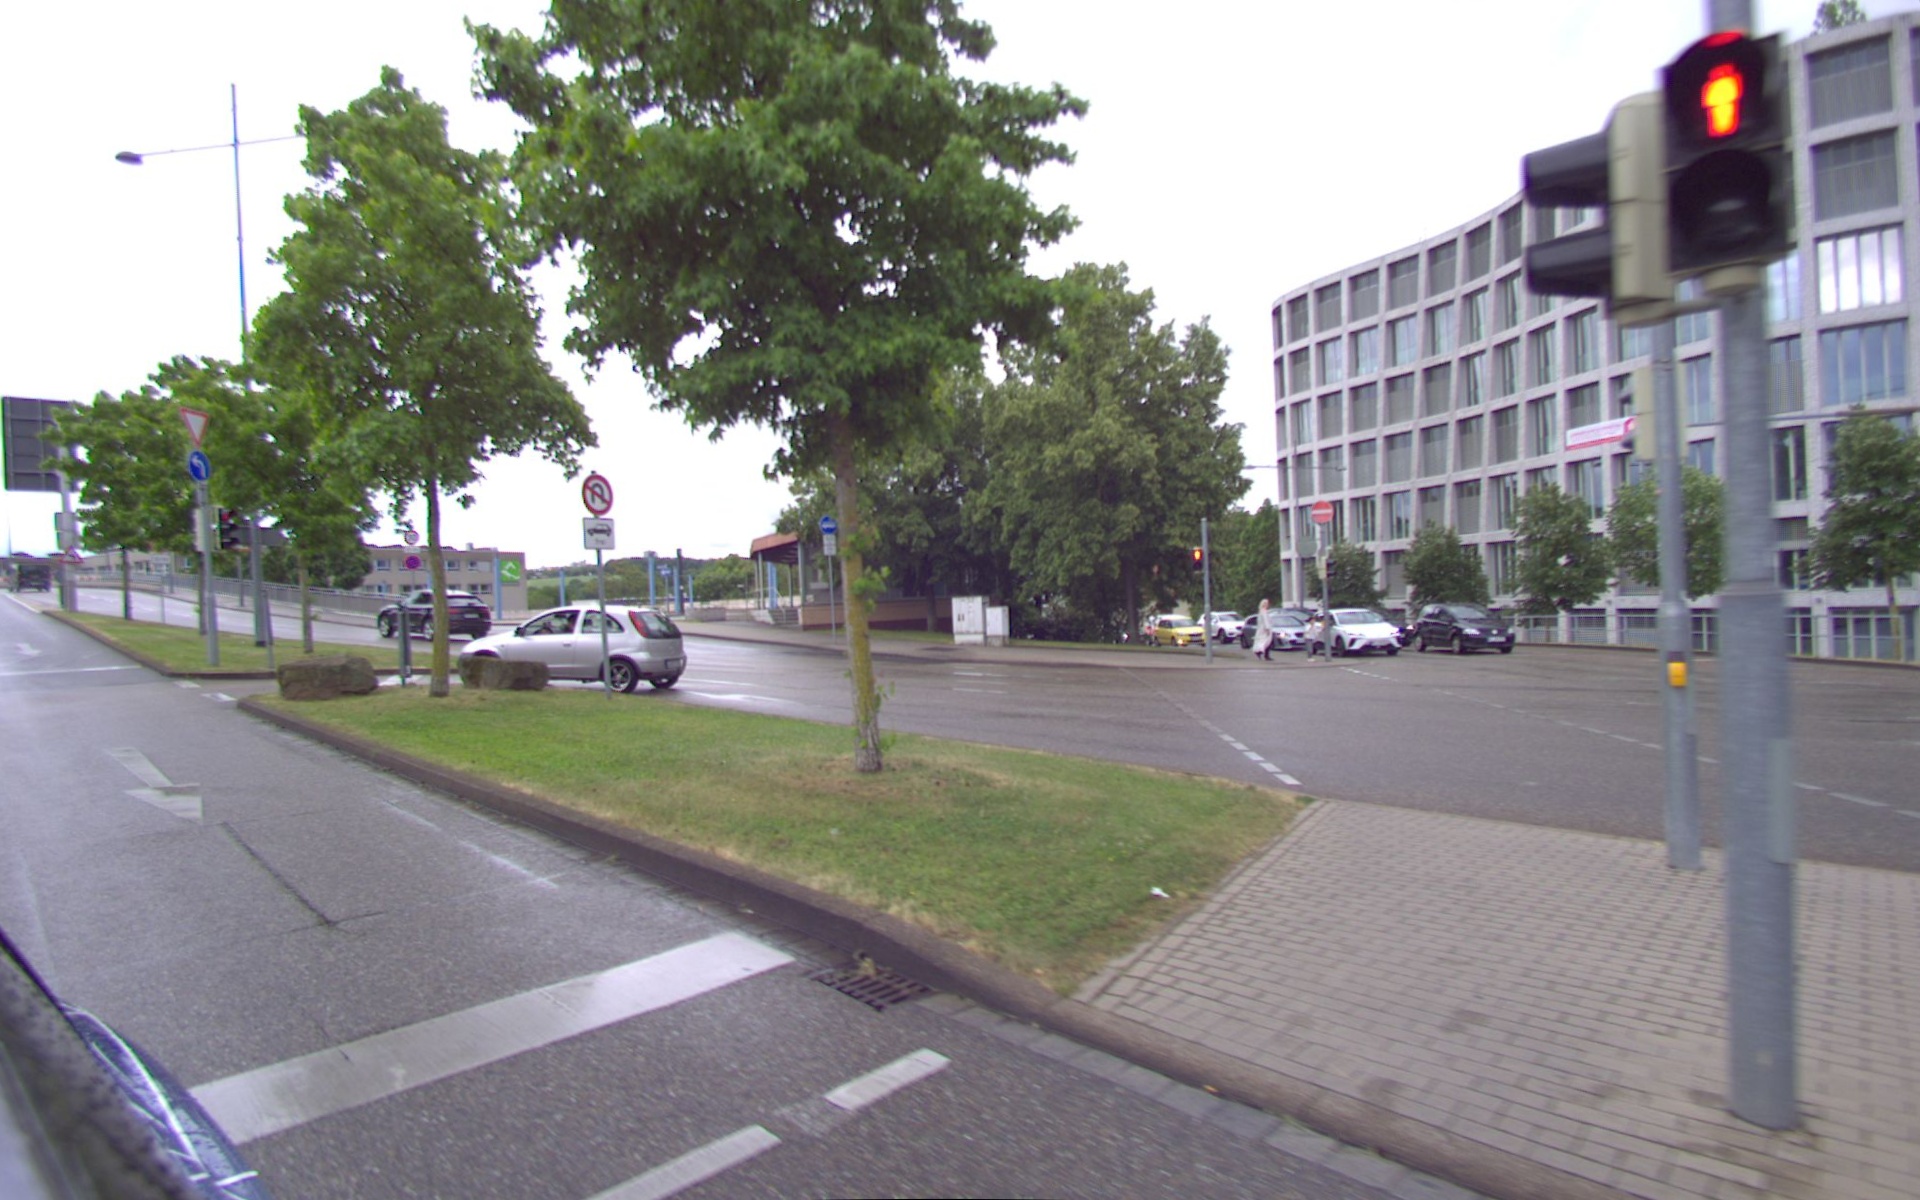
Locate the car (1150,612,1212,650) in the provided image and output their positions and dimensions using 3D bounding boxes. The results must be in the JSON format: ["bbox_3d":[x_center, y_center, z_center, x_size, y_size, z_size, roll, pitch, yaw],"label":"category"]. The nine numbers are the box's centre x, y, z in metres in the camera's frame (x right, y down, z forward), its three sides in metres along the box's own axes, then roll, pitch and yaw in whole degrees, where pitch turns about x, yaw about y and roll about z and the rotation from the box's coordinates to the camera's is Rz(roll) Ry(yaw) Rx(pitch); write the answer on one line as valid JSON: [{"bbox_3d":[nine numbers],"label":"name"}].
[{"bbox_3d":[10.573,1.453,48.656,1.700,1.711,3.658,-1,-1,-9],"label":"car"}]

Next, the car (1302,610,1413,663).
[{"bbox_3d":[12.774,1.129,32.810,1.861,1.579,4.142,-1,-1,-1],"label":"car"}]

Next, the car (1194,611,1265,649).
[{"bbox_3d":[13.660,1.482,51.553,1.700,1.832,4.439,-1,-1,-10],"label":"car"}]

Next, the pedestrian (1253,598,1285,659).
[{"bbox_3d":[8.179,0.756,26.833,0.645,1.582,0.630,1,0,2],"label":"pedestrian"}]

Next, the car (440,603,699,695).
[{"bbox_3d":[-6.563,0.796,17.141,3.835,1.459,1.631,0,-1,11],"label":"car"}]

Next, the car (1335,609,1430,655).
[{"bbox_3d":[15.437,1.135,37.180,1.703,1.579,3.840,-1,-1,-3],"label":"car"}]

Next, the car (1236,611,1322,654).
[{"bbox_3d":[12.124,1.212,38.733,1.702,1.519,4.060,-1,-1,-4],"label":"car"}]

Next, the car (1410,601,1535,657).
[{"bbox_3d":[15.651,0.856,31.150,1.703,1.579,3.840,-1,-1,-3],"label":"car"}]

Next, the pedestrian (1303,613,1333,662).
[{"bbox_3d":[9.637,0.999,27.220,0.629,1.302,0.646,1,-1,32],"label":"pedestrian"}]

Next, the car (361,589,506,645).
[{"bbox_3d":[-17.574,0.522,33.740,4.834,1.674,1.897,1,2,27],"label":"car"}]

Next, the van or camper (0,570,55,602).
[{"bbox_3d":[-65.933,-1.020,71.325,5.274,2.088,2.196,2,0,36],"label":"van or camper"}]
